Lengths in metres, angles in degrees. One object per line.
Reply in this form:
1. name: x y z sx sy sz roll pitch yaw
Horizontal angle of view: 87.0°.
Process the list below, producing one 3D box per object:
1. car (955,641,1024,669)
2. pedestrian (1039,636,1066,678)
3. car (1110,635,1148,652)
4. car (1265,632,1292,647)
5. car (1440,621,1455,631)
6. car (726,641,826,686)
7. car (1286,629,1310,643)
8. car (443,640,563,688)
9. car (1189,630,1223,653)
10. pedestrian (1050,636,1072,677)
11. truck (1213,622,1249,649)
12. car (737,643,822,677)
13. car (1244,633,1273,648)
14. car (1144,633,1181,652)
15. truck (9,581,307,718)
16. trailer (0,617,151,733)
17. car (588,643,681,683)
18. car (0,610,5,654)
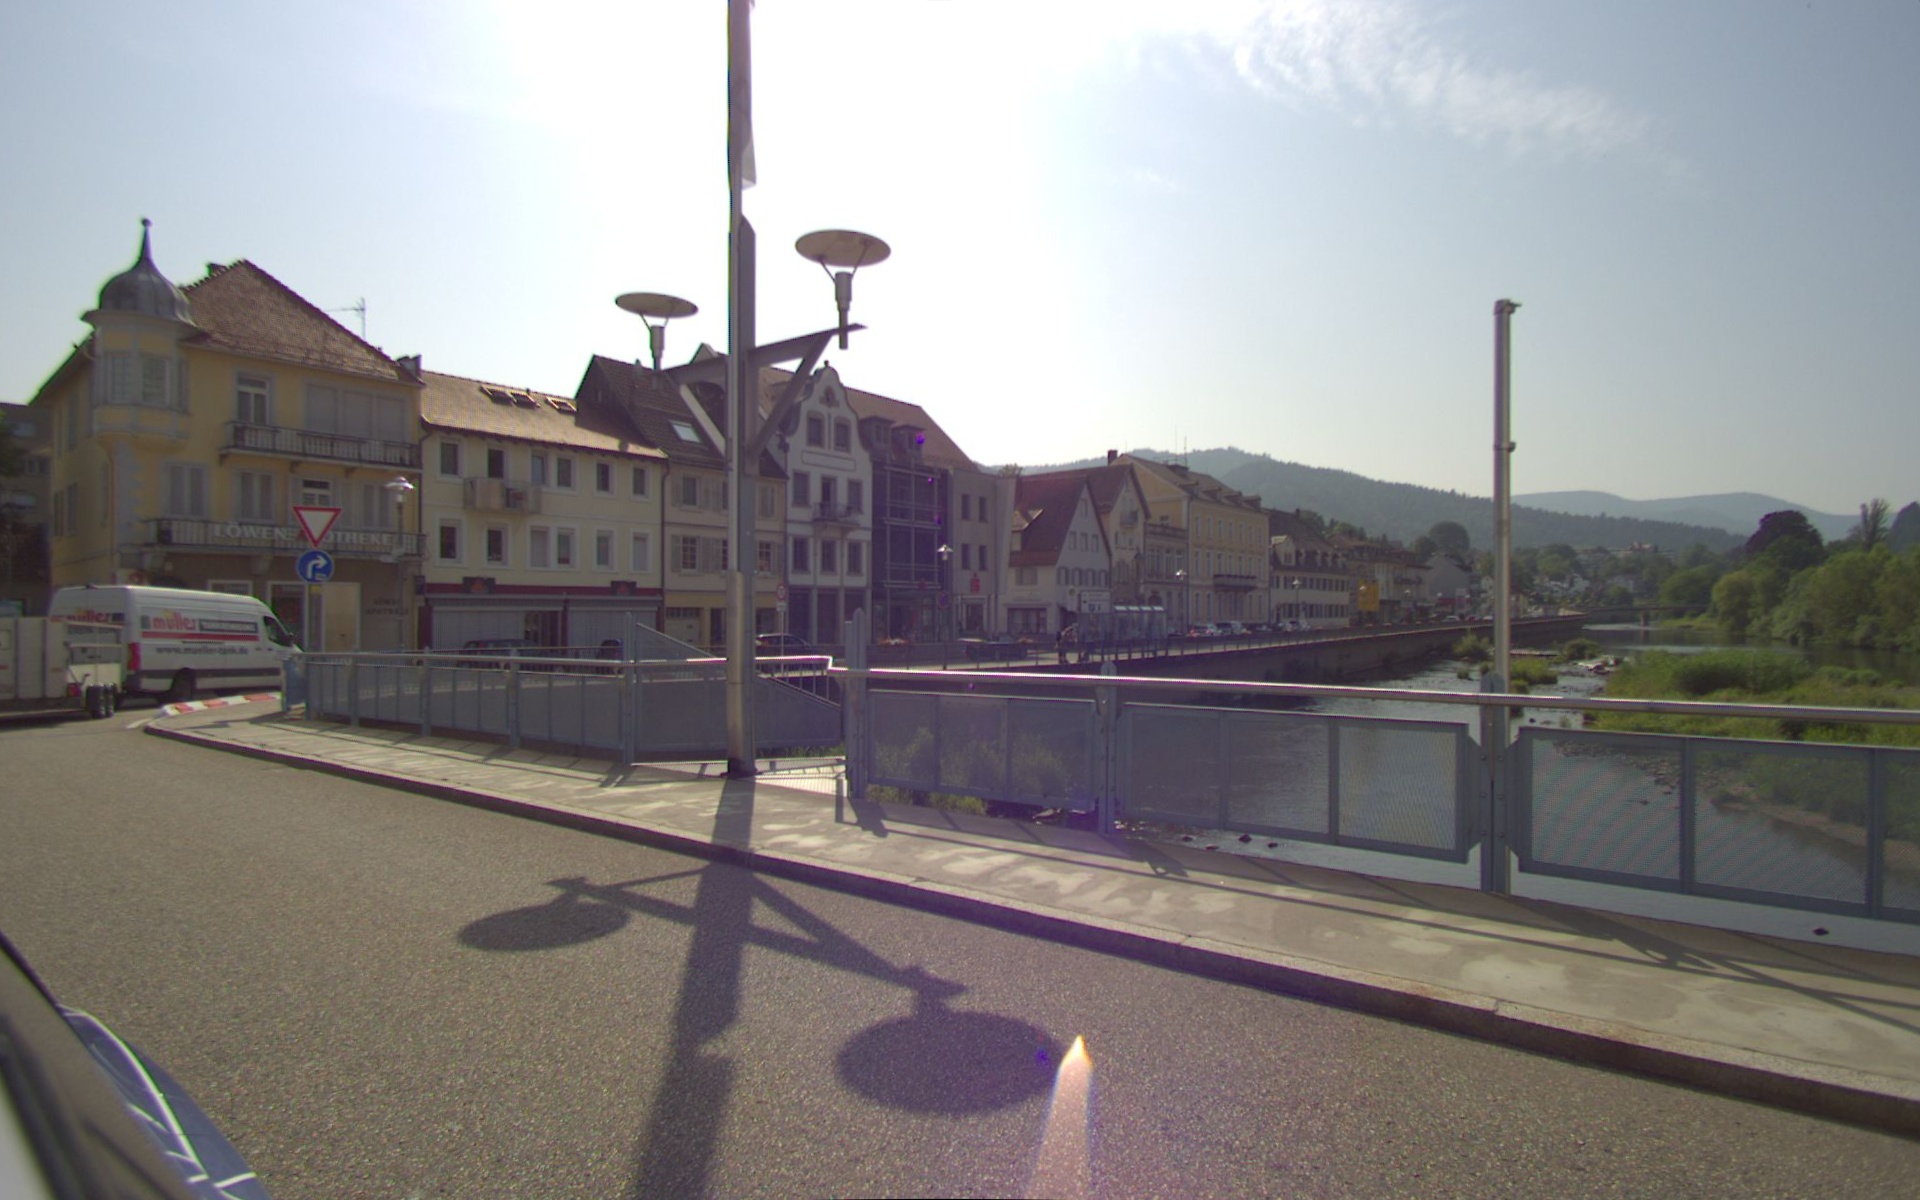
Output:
1. car: 1.690 3.046 56.176 1.753 1.367 4.148 -3 -2 37
2. pedestrian: 3.944 2.429 43.310 0.868 1.719 0.767 -1 -2 39
3. car: 12.702 3.274 75.986 1.565 1.229 3.237 -2 -2 35
4. car: 32.793 4.035 104.190 1.749 1.459 3.237 -2 -2 35
5. car: 75.805 4.061 157.306 1.515 1.459 3.237 -2 -2 35
6. car: -7.460 2.547 41.282 1.681 1.572 3.921 -2 -1 37
7. car: 36.731 3.935 109.967 1.515 1.459 3.237 -2 -2 35
8. car: -16.448 2.280 36.577 1.849 1.580 3.525 -2 -2 35
9. car: 21.624 3.662 88.927 1.749 1.950 3.534 -2 -2 35
10. pedestrian: 4.362 2.445 43.791 0.791 1.719 0.485 -1 -2 39
11. truck: 25.391 3.276 94.609 1.749 2.487 4.605 -2 -2 35
12. car: -8.416 2.793 47.429 1.749 1.459 3.749 -2 -2 35
13. car: 29.209 3.953 98.958 1.749 1.459 3.237 -2 -2 35
14. car: 16.200 3.370 80.898 1.749 1.459 3.237 -2 -2 35
15. truck: -18.554 1.172 24.108 2.079 2.720 7.142 -1 -3 -6
16. trailer: -16.861 1.306 18.456 2.574 1.842 5.654 0 -2 -31
17. car: -13.167 2.528 41.043 1.749 1.459 3.237 -2 -2 35
18. car: -43.913 1.383 42.645 1.994 1.905 5.016 -2 -2 32
